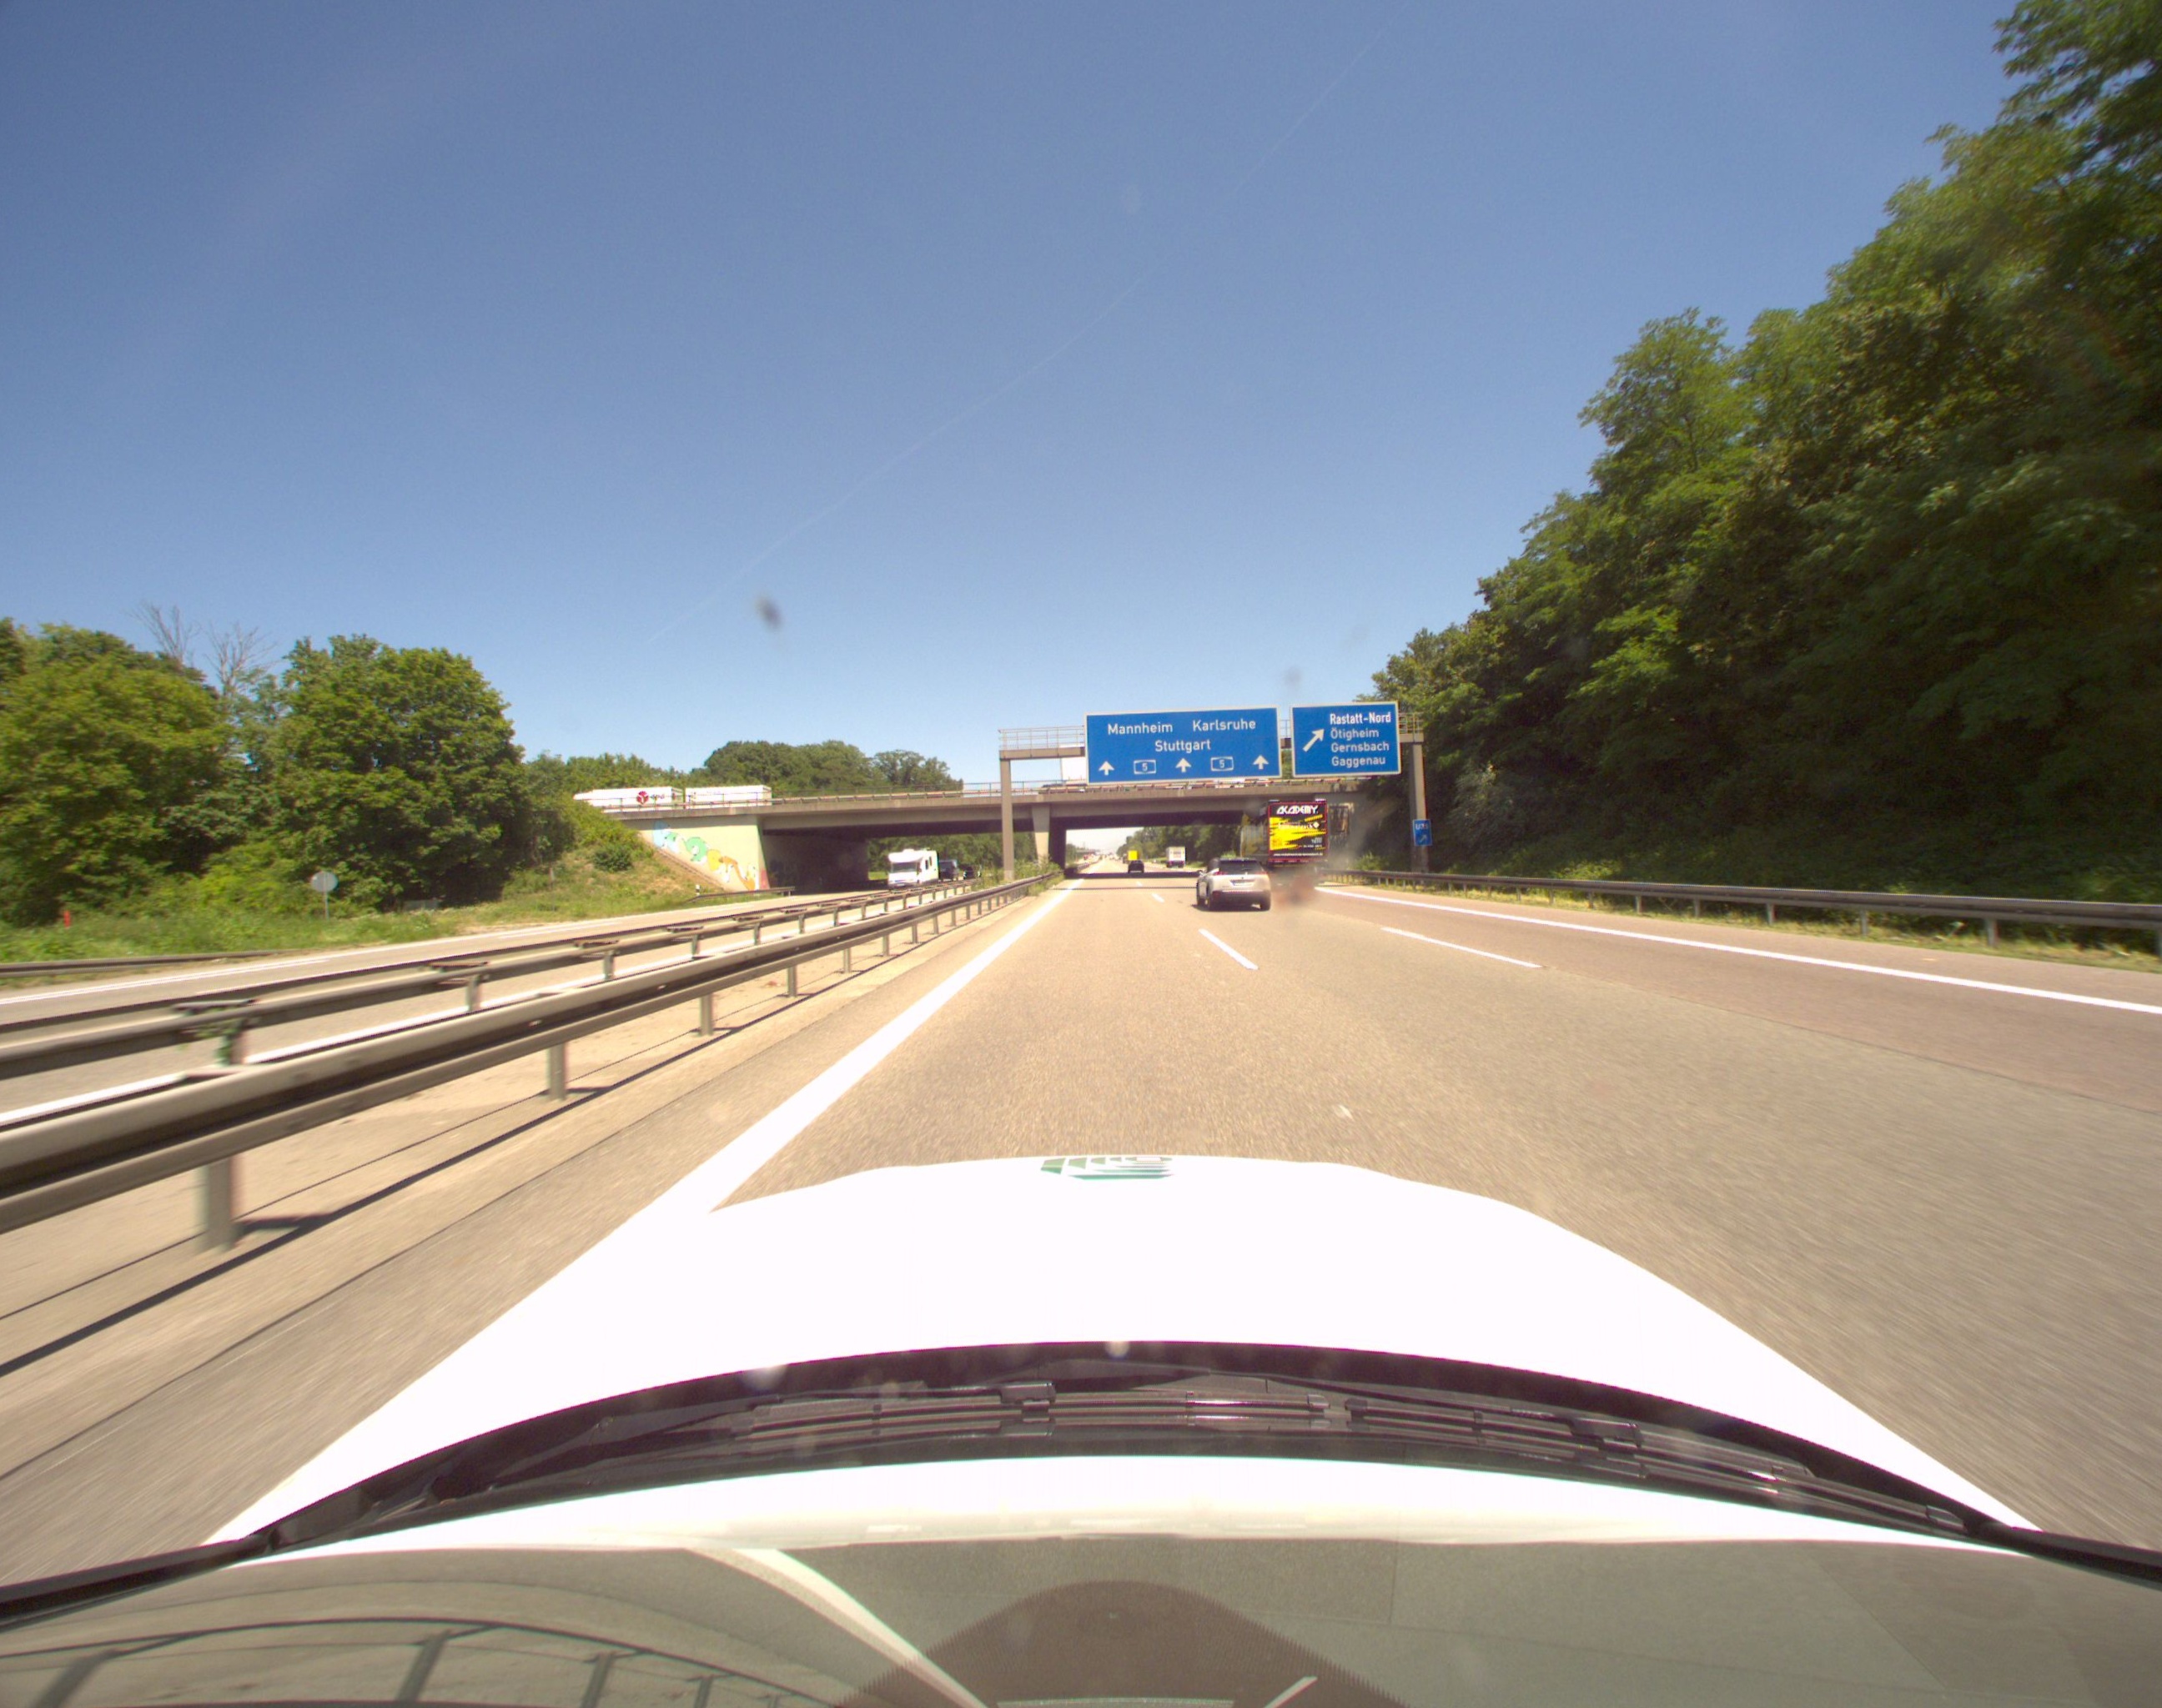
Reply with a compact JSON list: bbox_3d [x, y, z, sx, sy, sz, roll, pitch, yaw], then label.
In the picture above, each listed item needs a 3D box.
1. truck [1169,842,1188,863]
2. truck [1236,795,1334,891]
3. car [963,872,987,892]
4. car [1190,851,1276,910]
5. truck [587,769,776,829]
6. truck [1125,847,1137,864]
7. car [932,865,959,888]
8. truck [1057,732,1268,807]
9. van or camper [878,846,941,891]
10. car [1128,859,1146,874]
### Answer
[{"bbox_3d":[16.128,-0.113,135.794,3.013,3.319,10.788,-1,-1,6],"label":"truck"},{"bbox_3d":[9.687,-0.402,40.004,2.961,4.037,10.995,0,-1,5],"label":"truck"},{"bbox_3d":[-10.399,2.737,79.943,1.685,1.816,4.714,-1,-1,0],"label":"car"},{"bbox_3d":[4.527,0.755,24.885,1.820,1.608,4.810,-1,-1,1],"label":"car"},{"bbox_3d":[-38.690,-5.293,79.454,16.438,5.566,3.168,-1,-1,-6],"label":"truck"},{"bbox_3d":[15.450,0.543,253.084,3.363,4.881,15.095,-1,-1,3],"label":"truck"},{"bbox_3d":[-15.087,2.463,90.996,2.082,2.399,5.734,-1,-1,0],"label":"car"},{"bbox_3d":[6.332,-6.688,64.911,16.425,5.566,3.171,-1,-1,-4],"label":"truck"},{"bbox_3d":[-11.748,0.982,56.459,2.582,2.907,7.236,-1,-1,2],"label":"van or camper"},{"bbox_3d":[6.240,1.391,91.116,1.820,1.706,4.001,-1,-1,1],"label":"car"}]
